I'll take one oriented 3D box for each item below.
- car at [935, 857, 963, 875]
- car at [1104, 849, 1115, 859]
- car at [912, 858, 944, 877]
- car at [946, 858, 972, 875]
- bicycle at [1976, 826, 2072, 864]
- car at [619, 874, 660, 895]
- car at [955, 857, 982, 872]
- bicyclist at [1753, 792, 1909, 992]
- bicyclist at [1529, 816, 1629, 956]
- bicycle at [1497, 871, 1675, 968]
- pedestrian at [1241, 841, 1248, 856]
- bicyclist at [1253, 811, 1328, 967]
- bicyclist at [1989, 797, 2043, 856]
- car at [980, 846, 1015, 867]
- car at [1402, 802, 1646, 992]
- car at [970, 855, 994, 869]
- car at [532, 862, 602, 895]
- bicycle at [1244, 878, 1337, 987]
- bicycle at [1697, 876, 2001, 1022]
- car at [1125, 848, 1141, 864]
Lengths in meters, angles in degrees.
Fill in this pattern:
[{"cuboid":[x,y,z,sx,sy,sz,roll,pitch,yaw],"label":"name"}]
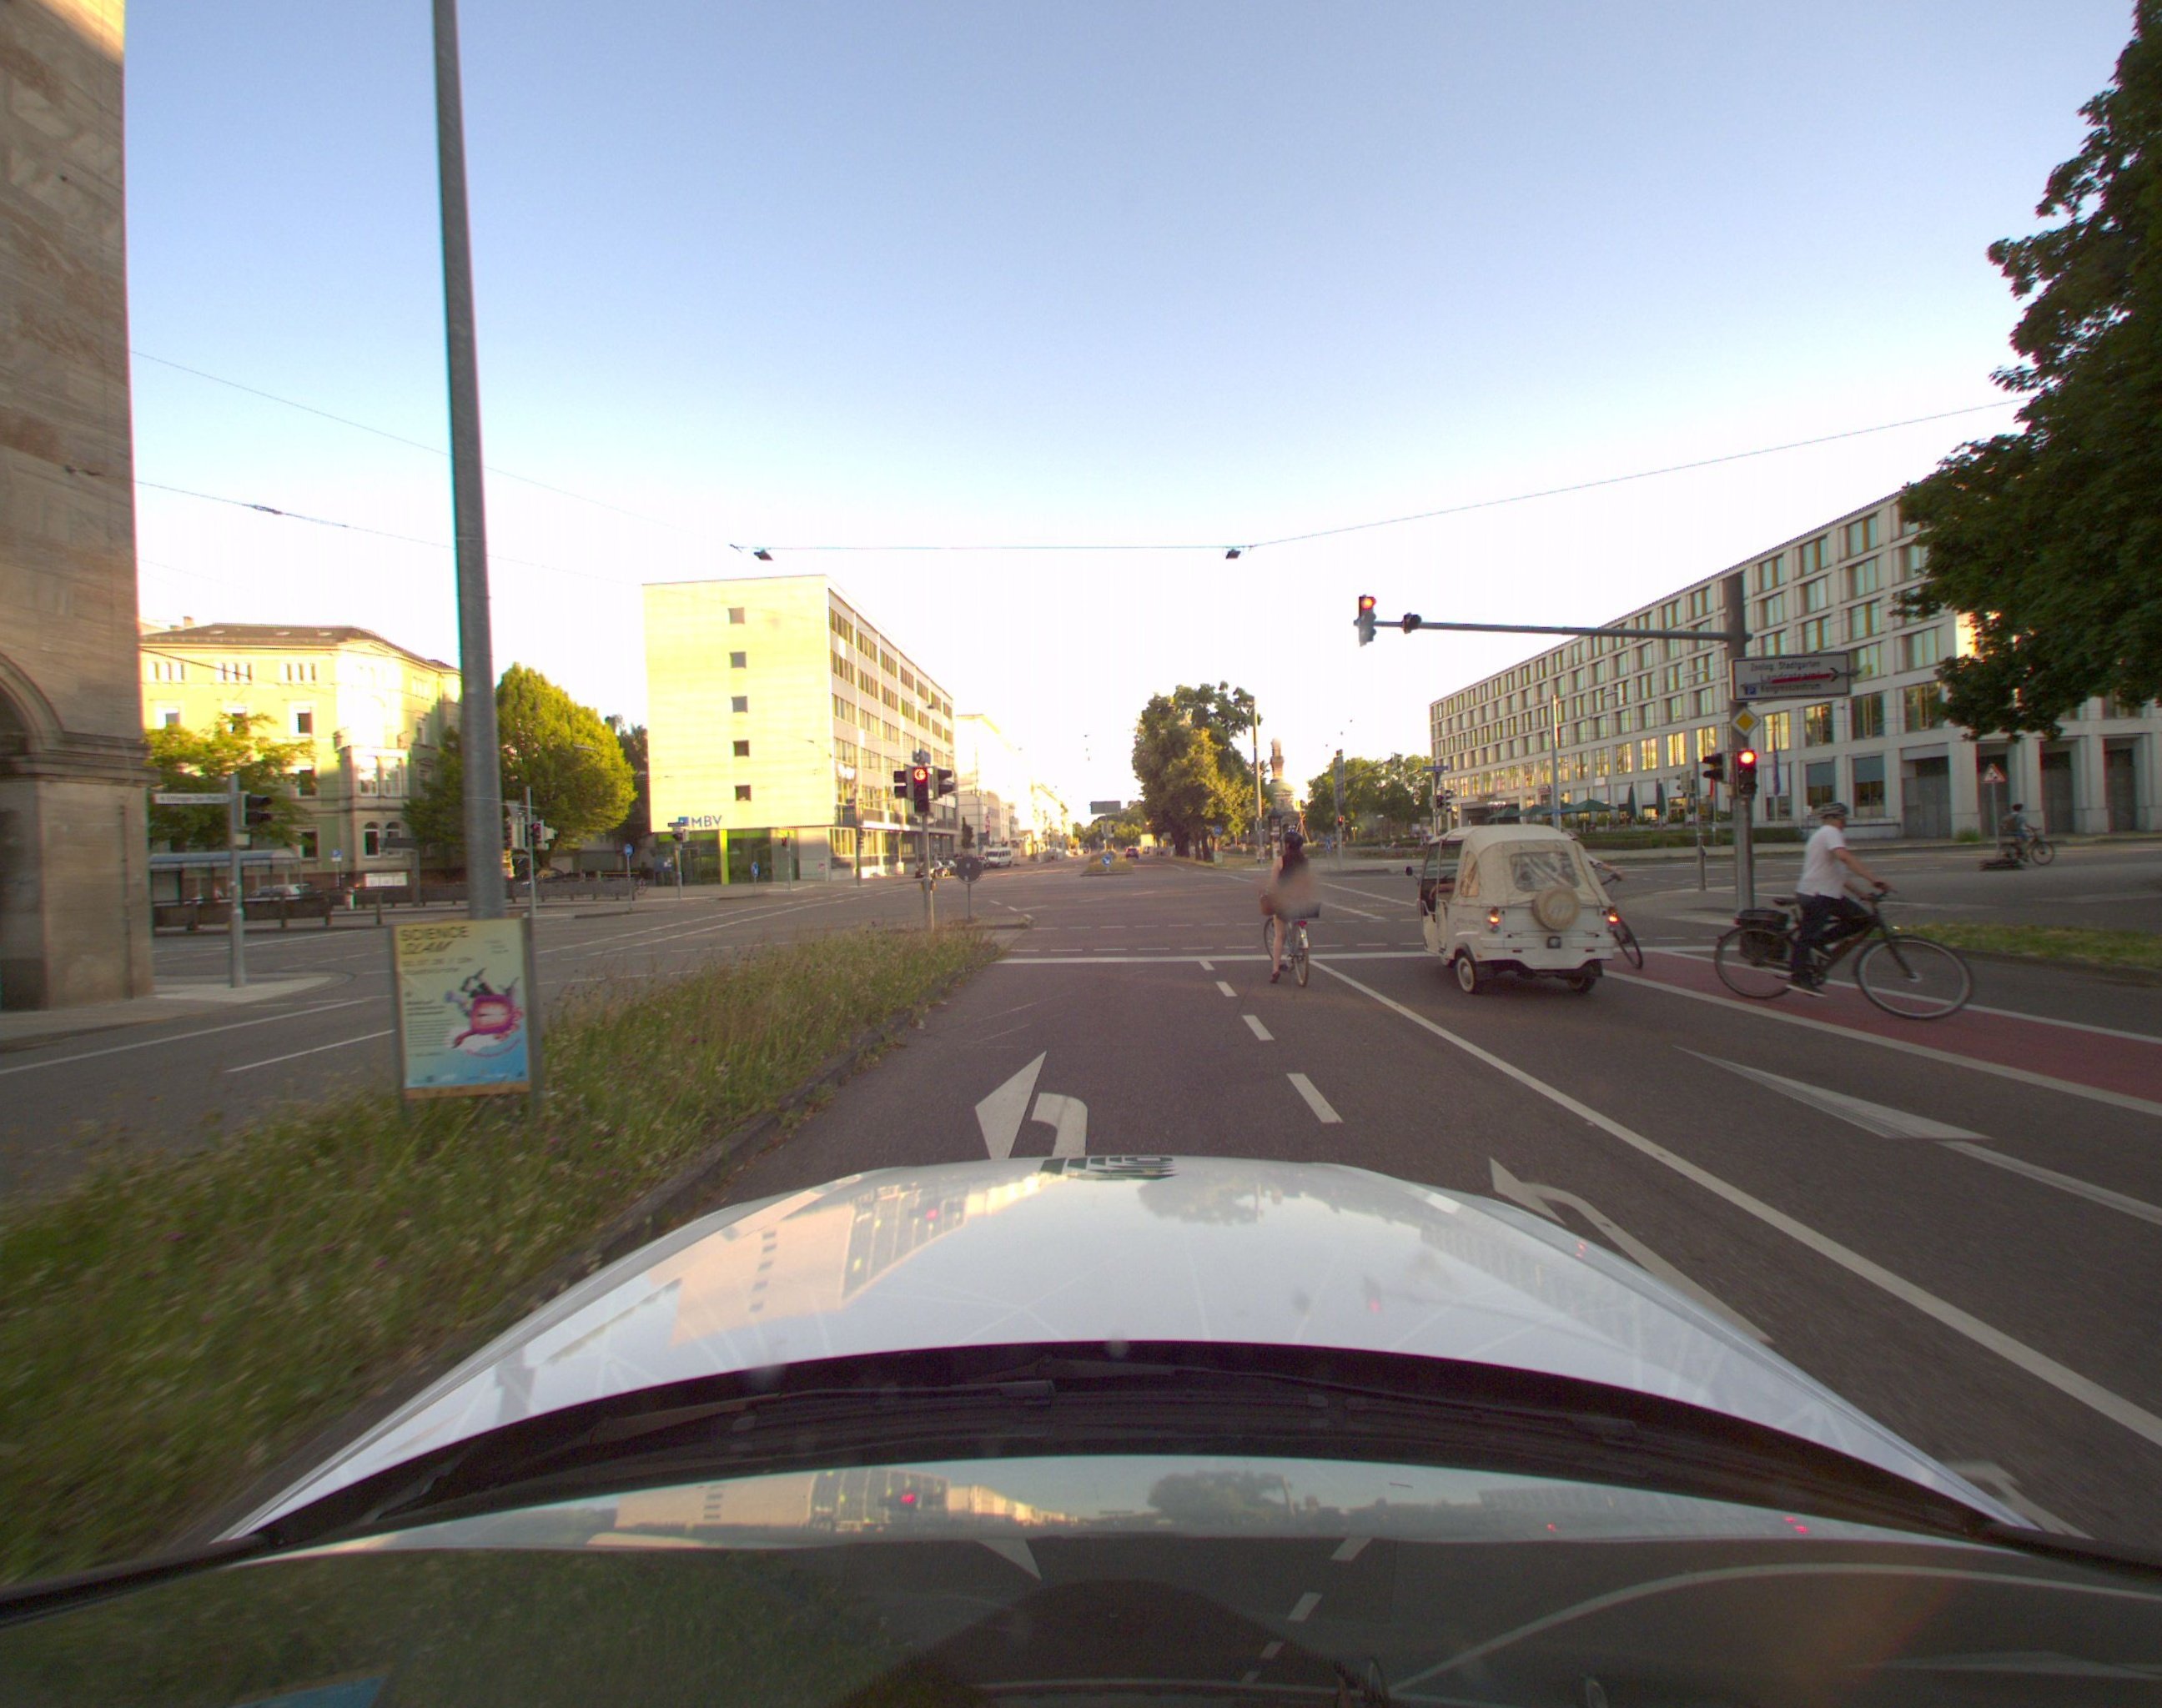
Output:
[{"cuboid":[-12.194,1.105,75.426,1.789,1.475,4.001,-3,-2,2],"label":"car"},{"cuboid":[5.485,-0.067,155.876,1.986,1.815,4.002,-3,0,1],"label":"car"},{"cuboid":[-13.004,1.191,69.226,1.789,1.475,4.001,-3,-2,2],"label":"car"},{"cuboid":[-11.924,1.264,79.900,1.789,1.475,4.001,-3,-2,2],"label":"car"},{"cuboid":[28.291,-0.276,24.452,1.887,1.069,0.732,-2,0,5],"label":"bicycle"},{"cuboid":[-25.189,1.731,46.516,0.850,1.073,2.523,-3,0,2],"label":"car"},{"cuboid":[-11.836,1.135,85.993,1.787,1.475,4.006,-3,-2,6],"label":"car"},{"cuboid":[6.803,0.319,7.409,0.766,1.693,0.743,-2,0,-23],"label":"bicyclist"},{"cuboid":[6.370,0.392,10.446,0.714,1.693,0.745,-2,0,-13],"label":"bicyclist"},{"cuboid":[6.413,0.779,10.493,0.729,1.069,2.012,-1,0,-14],"label":"bicycle"},{"cuboid":[17.720,-0.590,88.243,0.506,1.668,0.531,-3,0,1],"label":"pedestrian"},{"cuboid":[2.400,0.386,9.390,0.626,1.693,0.749,-3,0,2],"label":"bicyclist"},{"cuboid":[28.087,-0.815,24.471,0.742,1.693,0.716,-3,0,5],"label":"bicyclist"},{"cuboid":[-10.077,0.367,98.948,2.161,2.385,6.011,-3,-2,14],"label":"car"},{"cuboid":[4.725,0.385,9.054,1.452,1.780,2.568,-2,1,5],"label":"car"},{"cuboid":[-11.235,0.946,92.382,1.787,1.475,4.006,-3,-2,6],"label":"car"},{"cuboid":[-34.256,1.593,54.422,1.986,2.013,4.002,-3,0,2],"label":"car"},{"cuboid":[2.441,0.872,9.706,0.635,1.069,2.070,-1,0,2],"label":"bicycle"},{"cuboid":[6.845,0.772,7.406,0.731,1.069,1.889,-1,0,-21],"label":"bicycle"},{"cuboid":[7.361,0.265,115.624,1.986,2.013,4.002,-3,0,1],"label":"car"}]
